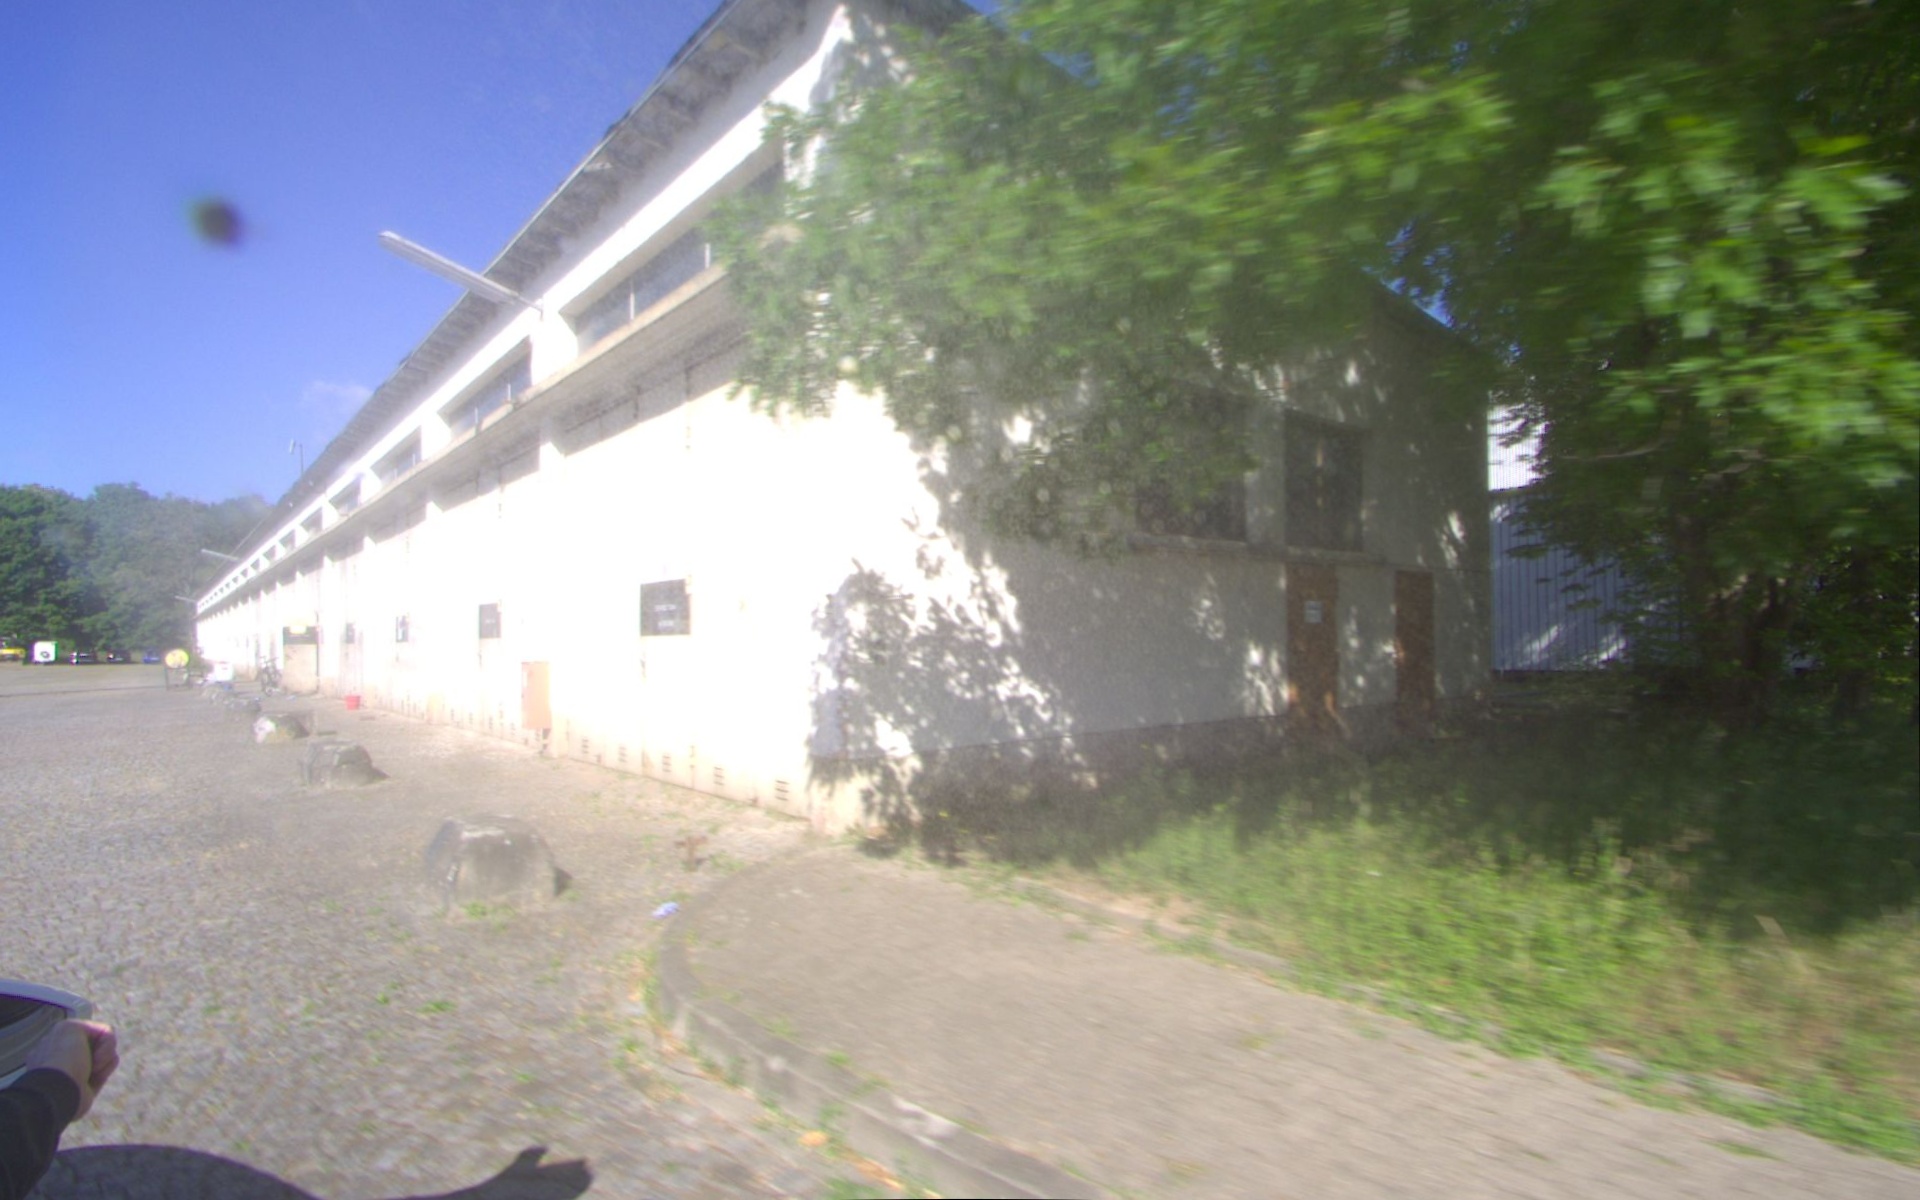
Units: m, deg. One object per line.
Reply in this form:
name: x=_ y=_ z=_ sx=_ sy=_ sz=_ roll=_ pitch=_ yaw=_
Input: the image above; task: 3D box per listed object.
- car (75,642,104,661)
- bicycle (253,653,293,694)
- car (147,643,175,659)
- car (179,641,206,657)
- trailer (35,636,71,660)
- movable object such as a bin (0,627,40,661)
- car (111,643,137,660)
car: x=-81.377 y=4.806 z=93.666 sx=1.849 sy=1.609 sz=4.260 roll=3 pitch=-2 yaw=-39
bicycle: x=-18.902 y=2.003 z=27.590 sx=0.657 sy=1.081 sz=1.817 roll=1 pitch=-3 yaw=-27
car: x=-77.558 y=4.959 z=97.240 sx=1.728 sy=1.455 sz=4.156 roll=3 pitch=-2 yaw=-34
car: x=-76.562 y=4.852 z=99.886 sx=1.727 sy=1.455 sz=4.158 roll=2 pitch=-2 yaw=-32
trailer: x=-84.925 y=4.485 z=93.789 sx=2.176 sy=2.121 sz=5.703 roll=3 pitch=-2 yaw=-39
movable object such as a bin: x=-87.110 y=4.051 z=92.742 sx=2.288 sy=2.933 sz=5.705 roll=3 pitch=-2 yaw=-38
car: x=-79.707 y=4.898 z=95.530 sx=1.849 sy=1.489 sz=4.260 roll=3 pitch=-2 yaw=-39
